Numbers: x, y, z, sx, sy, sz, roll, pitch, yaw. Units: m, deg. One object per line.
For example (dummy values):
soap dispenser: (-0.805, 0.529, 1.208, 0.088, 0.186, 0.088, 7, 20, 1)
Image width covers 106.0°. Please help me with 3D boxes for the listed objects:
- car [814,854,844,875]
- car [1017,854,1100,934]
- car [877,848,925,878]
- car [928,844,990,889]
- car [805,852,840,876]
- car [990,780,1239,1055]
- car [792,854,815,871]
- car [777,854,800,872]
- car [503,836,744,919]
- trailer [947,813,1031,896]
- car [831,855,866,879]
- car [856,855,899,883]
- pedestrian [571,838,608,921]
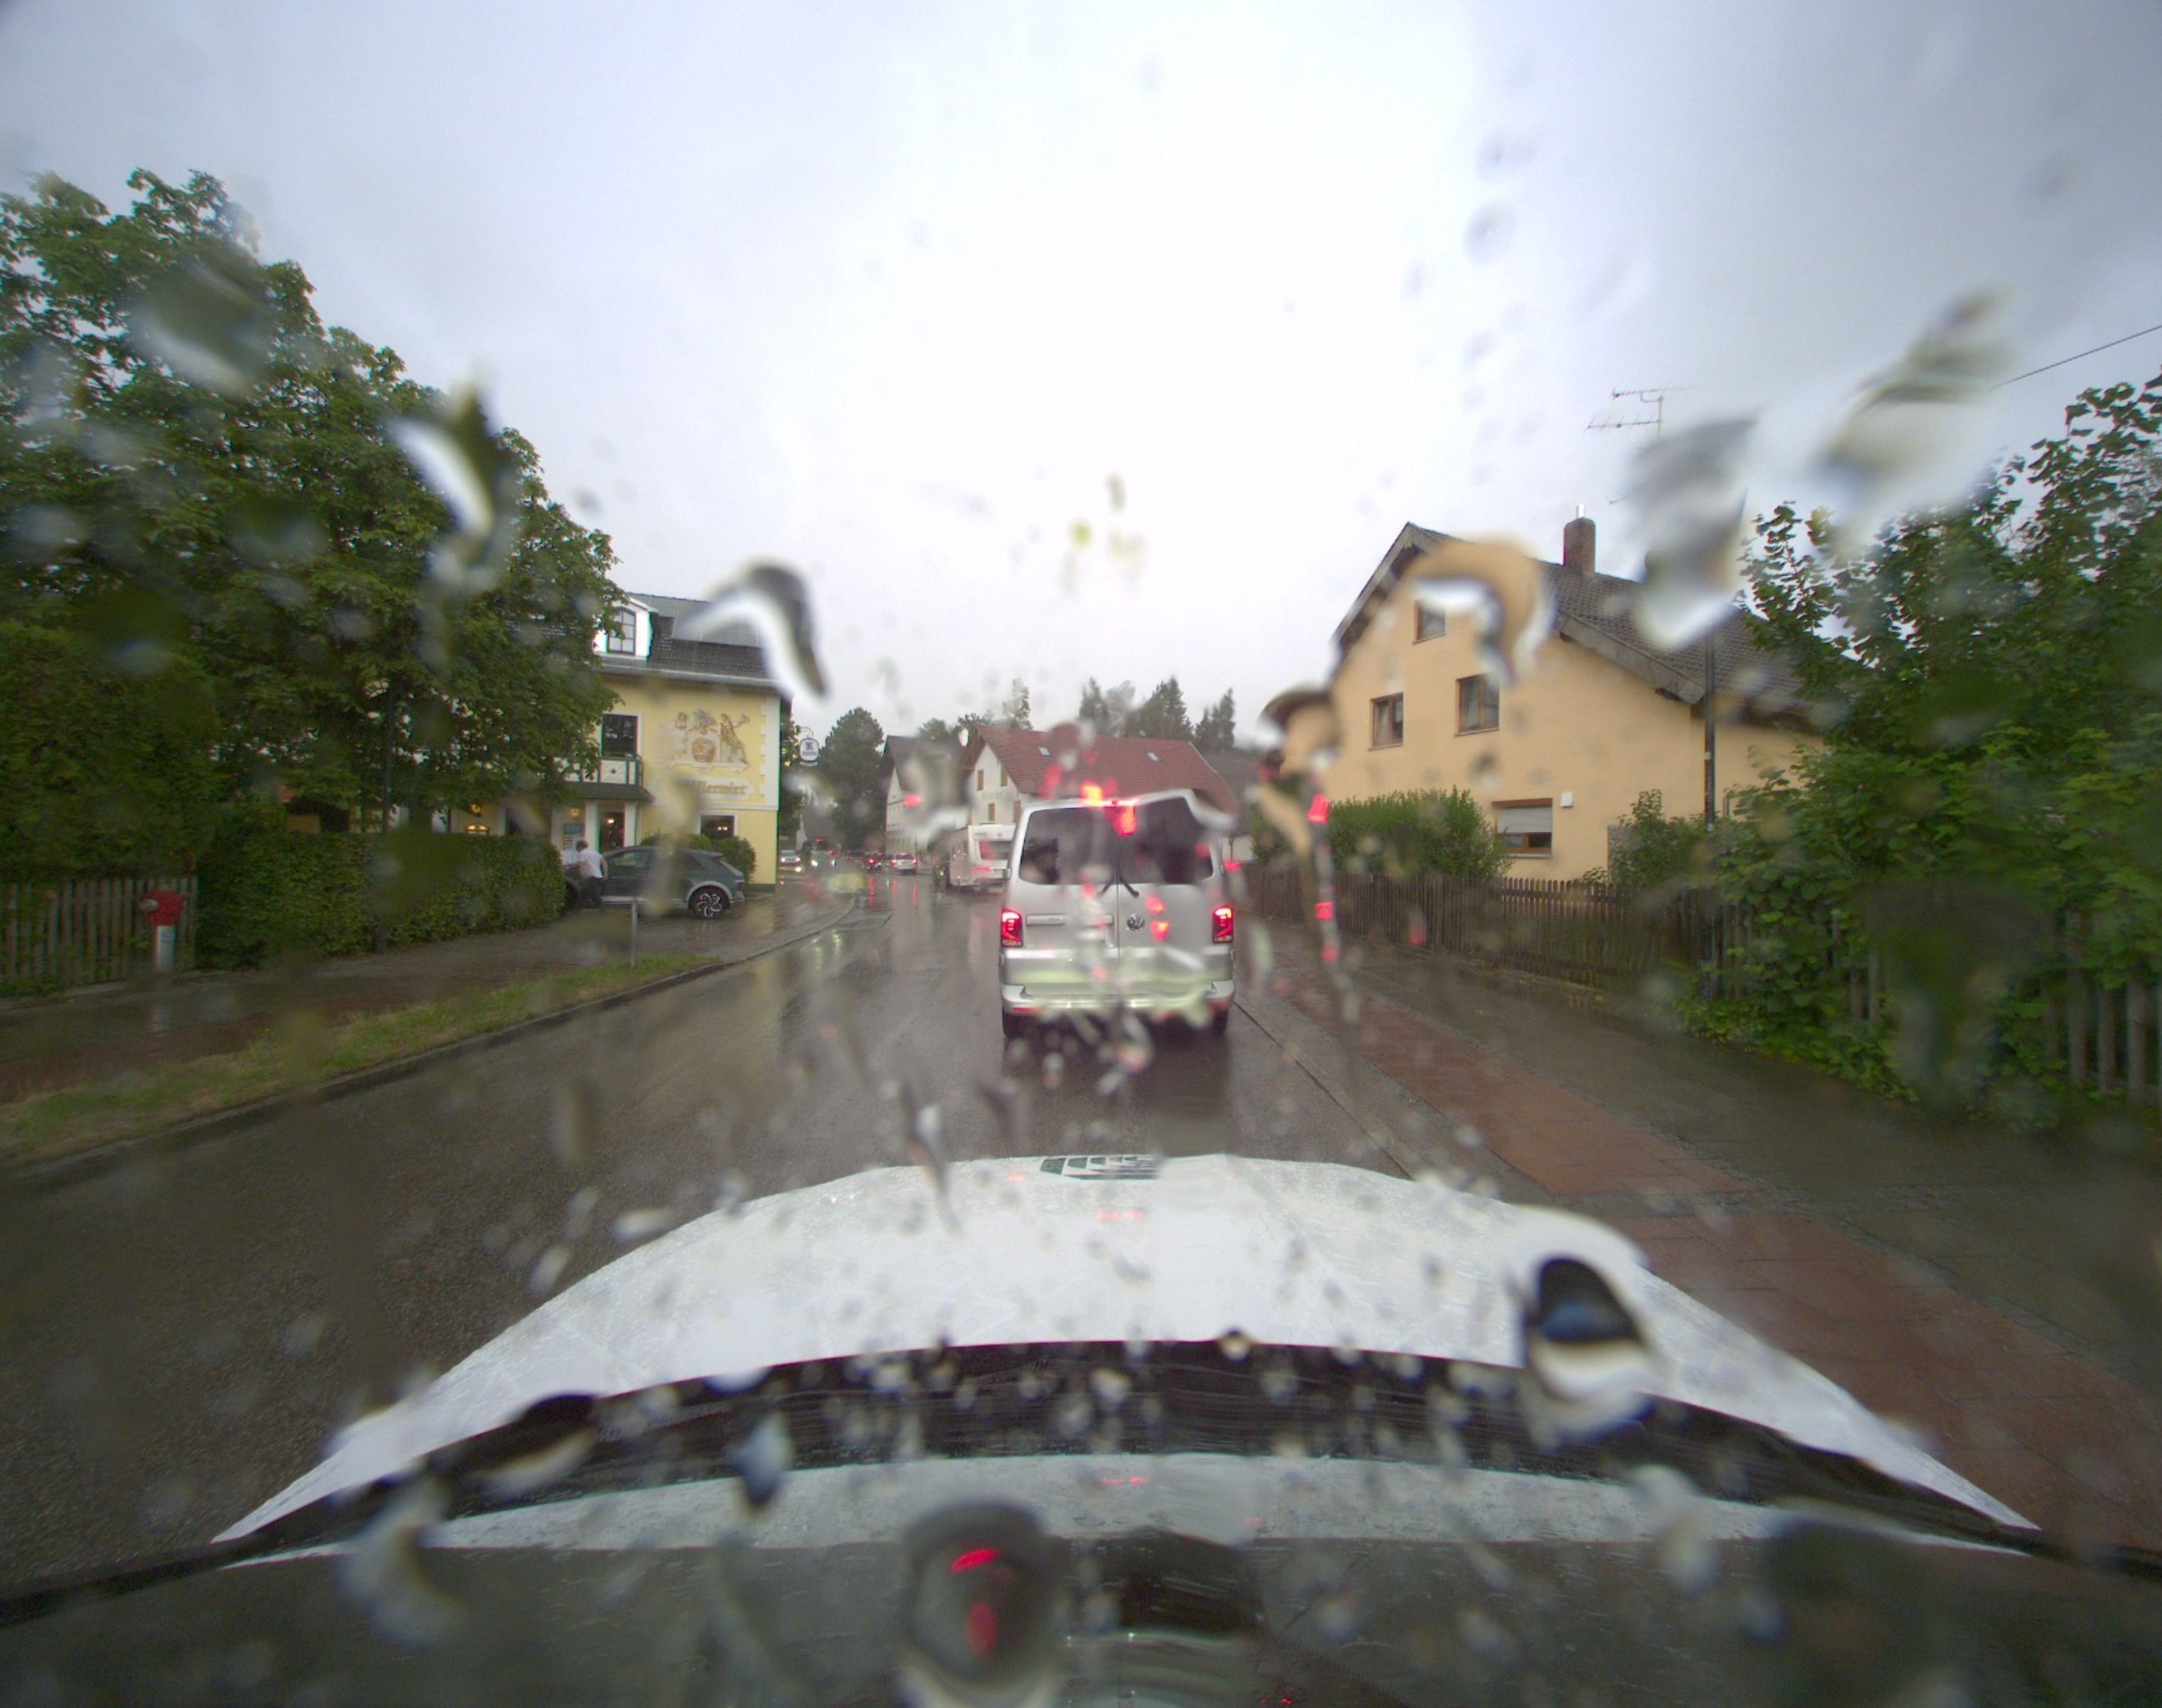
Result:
car: (-24.679, 0.987, 79.739, 2.179, 1.899, 4.974, 1, 0, -25)
car: (-0.653, 0.853, 19.881, 1.706, 1.584, 4.677, -2, 1, -5)
car: (-12.231, 0.599, 55.040, 2.179, 1.899, 4.973, 1, -1, -25)
car: (-5.650, 0.544, 37.154, 2.058, 1.899, 5.146, 0, 0, -17)
car: (-19.817, 0.741, 62.342, 1.932, 1.744, 4.157, -1, 0, -25)
car: (0.336, 0.467, 8.435, 1.769, 1.962, 5.077, -1, 0, 2)
car: (-34.031, 1.017, 99.892, 2.179, 1.899, 4.974, 1, 0, -25)
car: (-28.887, 0.859, 80.340, 1.762, 1.677, 3.966, -1, 0, -26)
car: (-10.210, 0.548, 18.558, 4.499, 1.567, 1.824, 4, 1, -27)
trailer: (-3.714, 0.029, 31.814, 2.275, 2.904, 6.099, 0, 0, -16)
car: (-19.929, 1.084, 69.751, 2.179, 1.899, 4.974, 1, 0, -25)
car: (-15.216, 1.087, 60.748, 2.179, 1.899, 4.974, 1, 0, -25)
pedestrian: (-10.232, 0.520, 16.956, 0.555, 1.690, 0.488, 4, -1, -30)
